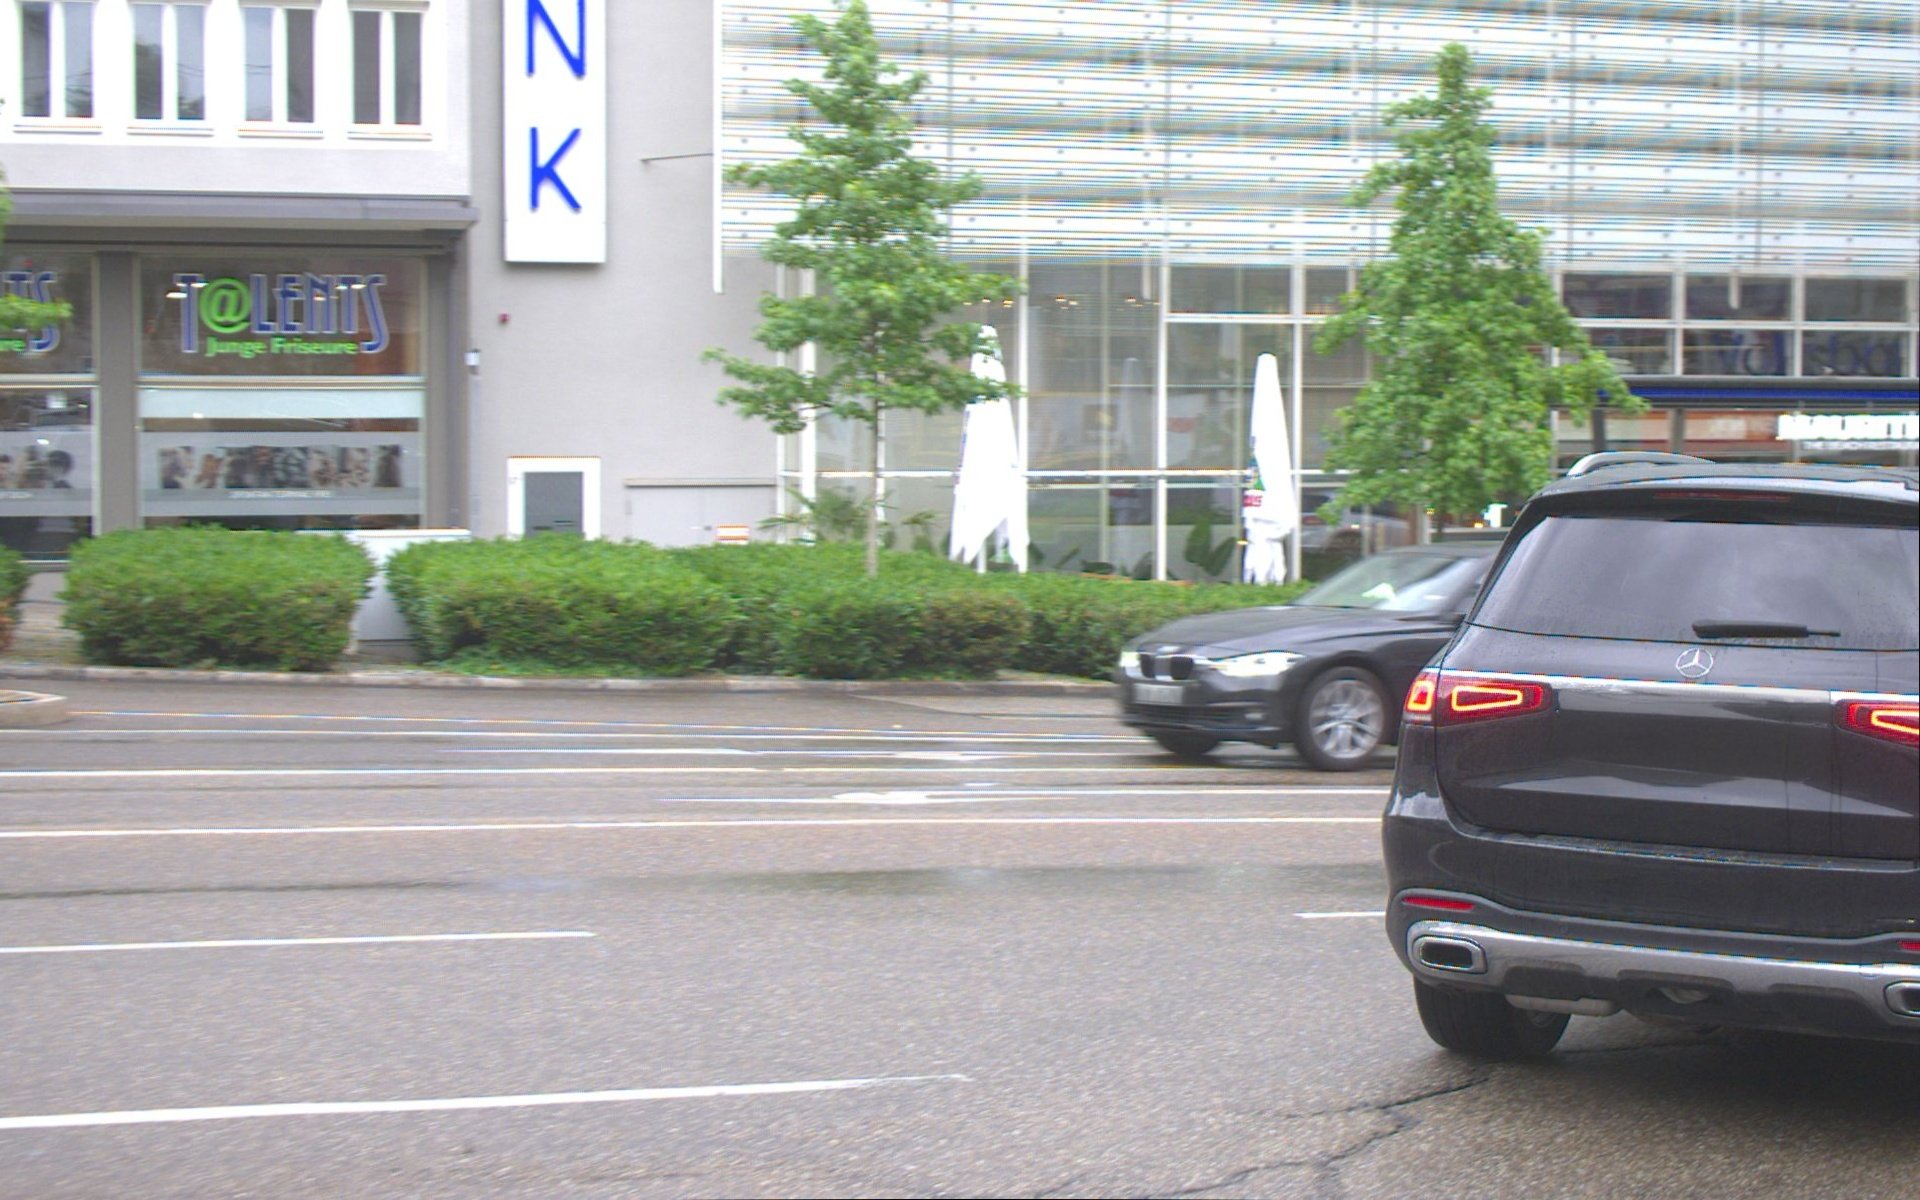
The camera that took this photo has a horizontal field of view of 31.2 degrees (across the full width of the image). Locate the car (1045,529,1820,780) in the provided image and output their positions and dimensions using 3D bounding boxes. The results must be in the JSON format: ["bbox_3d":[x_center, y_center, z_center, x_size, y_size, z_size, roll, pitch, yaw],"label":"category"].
[{"bbox_3d":[3.058,0.354,21.997,4.618,1.420,2.000,2,1,-30],"label":"car"}]

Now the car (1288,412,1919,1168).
[{"bbox_3d":[2.969,0.473,10.871,2.091,1.811,4.785,4,1,28],"label":"car"}]

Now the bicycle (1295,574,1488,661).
[{"bbox_3d":[5.065,0.207,40.404,2.136,0.989,0.695,0,2,-17],"label":"bicycle"}]

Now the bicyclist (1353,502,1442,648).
[{"bbox_3d":[5.136,-0.303,40.405,0.844,1.698,0.623,0,2,-17],"label":"bicyclist"}]
